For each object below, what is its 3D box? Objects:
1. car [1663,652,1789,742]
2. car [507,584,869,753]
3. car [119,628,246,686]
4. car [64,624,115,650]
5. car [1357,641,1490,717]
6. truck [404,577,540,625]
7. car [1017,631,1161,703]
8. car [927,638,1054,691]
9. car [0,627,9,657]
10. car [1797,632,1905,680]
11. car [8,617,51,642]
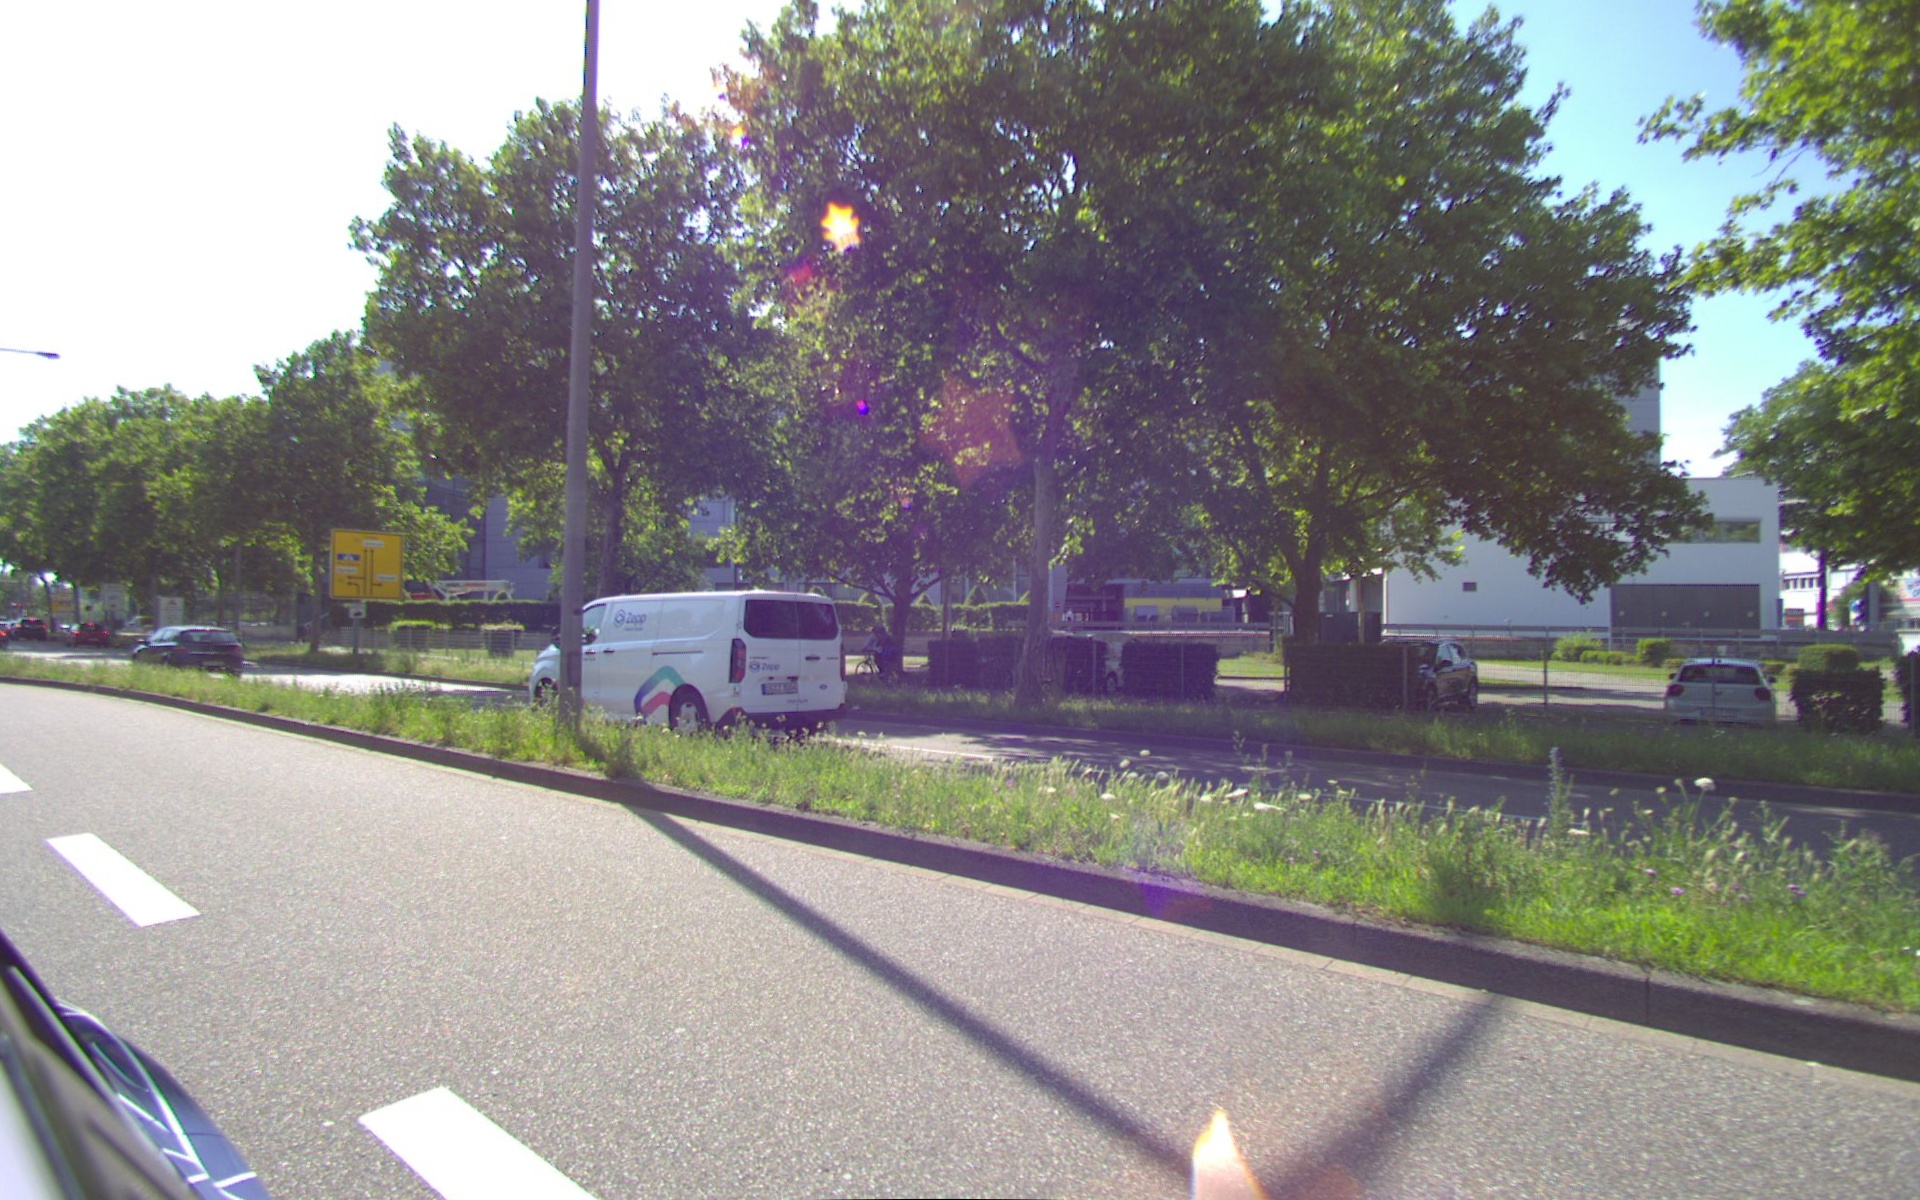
[{"bbox_3d":[14.885,1.808,19.832,1.801,1.424,3.952,0,-1,35],"label":"car"},{"bbox_3d":[-3.916,0.864,13.986,5.415,1.898,2.095,-2,-3,40],"label":"car"},{"bbox_3d":[-21.461,1.530,27.896,4.277,1.480,1.751,-1,-3,38],"label":"car"},{"bbox_3d":[-53.233,2.265,61.857,3.998,1.473,1.745,-2,-4,41],"label":"car"},{"bbox_3d":[10.934,1.785,23.728,1.868,1.614,3.946,-2,-3,40],"label":"car"},{"bbox_3d":[-35.809,0.100,74.340,8.875,3.421,2.669,0,-2,5],"label":"truck"},{"bbox_3d":[3.750,1.854,29.037,2.157,1.836,3.942,-1,-1,44],"label":"car"},{"bbox_3d":[0.984,1.916,30.734,1.772,1.475,3.945,-2,-3,41],"label":"car"},{"bbox_3d":[-48.954,2.073,50.466,4.164,1.490,1.820,-1,-3,41],"label":"car"},{"bbox_3d":[31.751,1.977,36.049,3.933,1.516,1.810,0,-3,-33],"label":"car"},{"bbox_3d":[-73.177,2.349,79.564,4.648,1.849,1.973,-2,-4,41],"label":"car"}]
